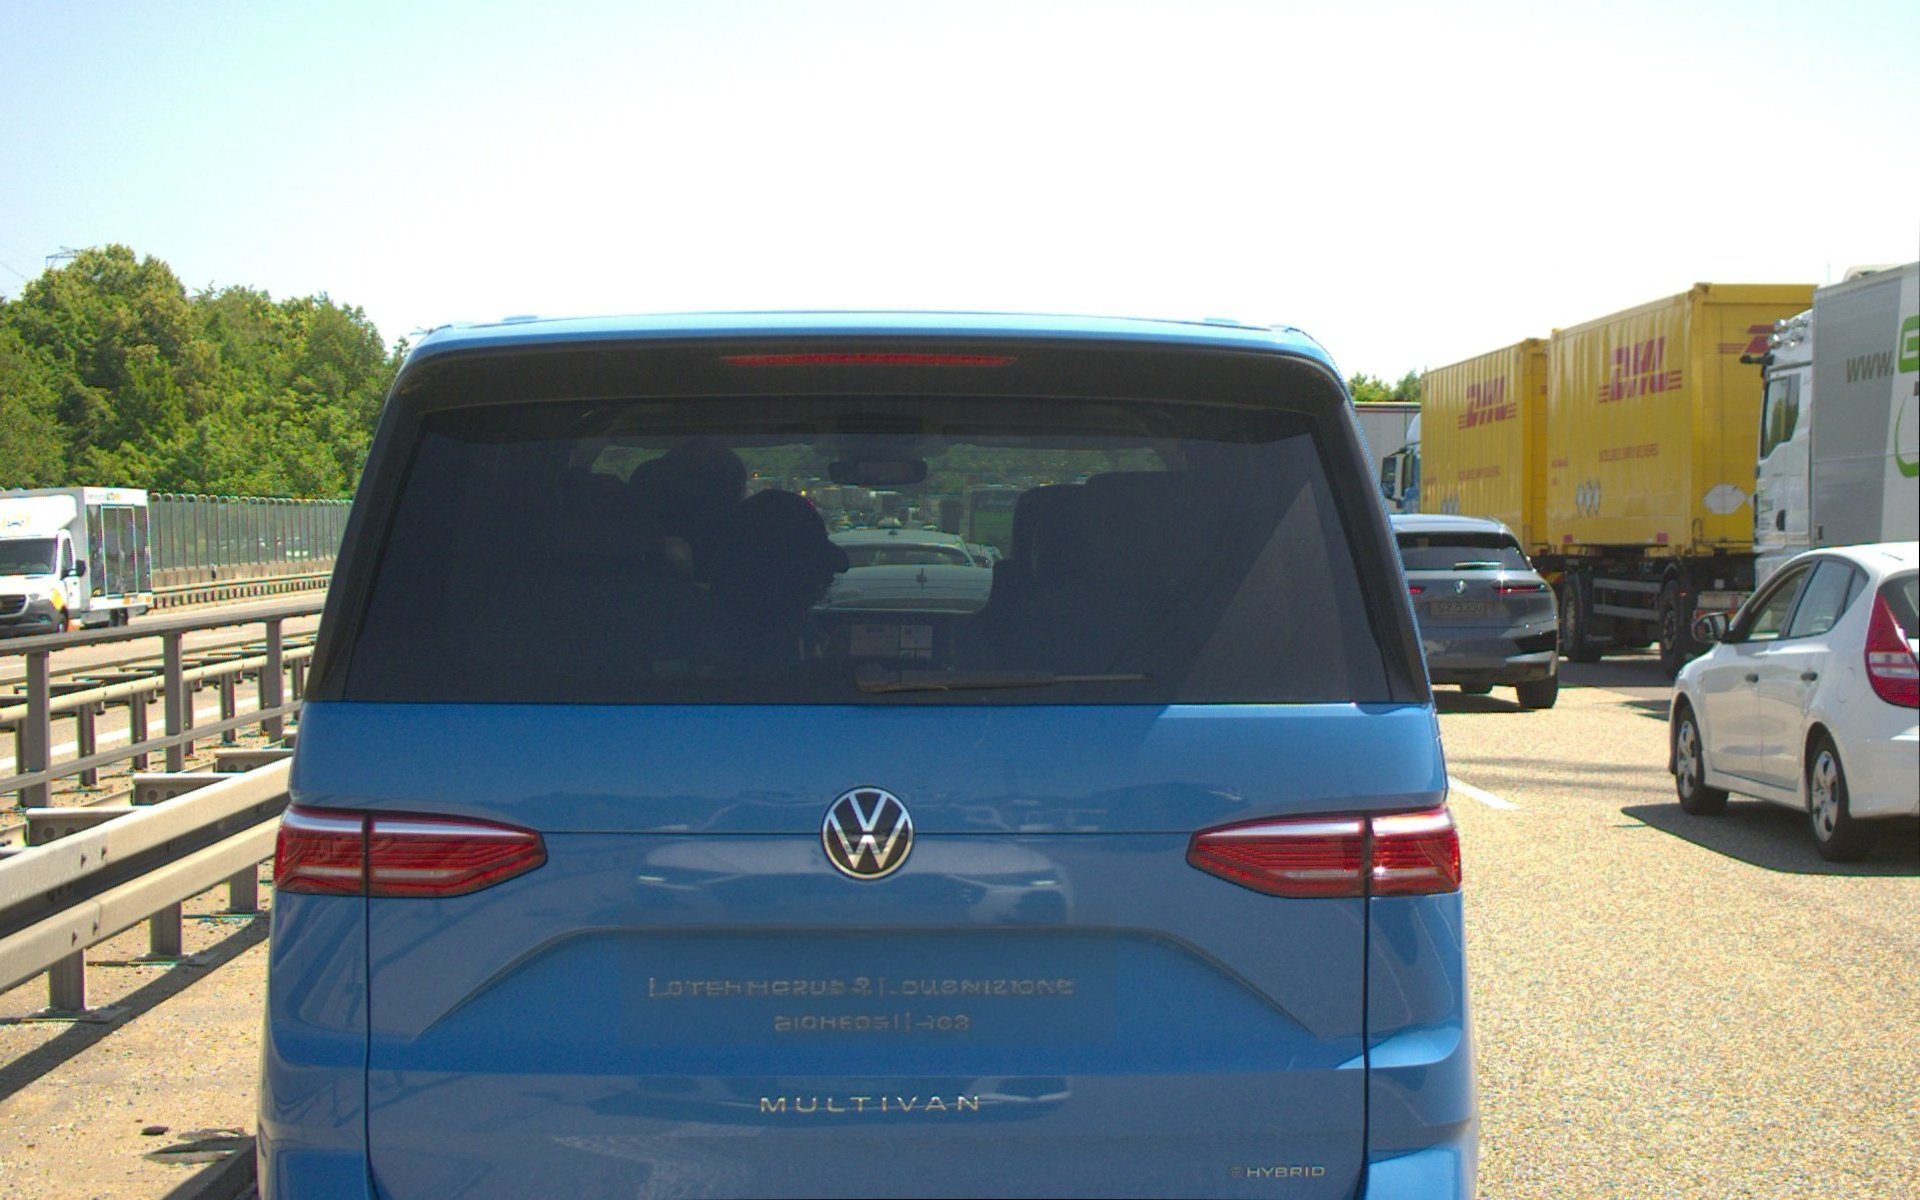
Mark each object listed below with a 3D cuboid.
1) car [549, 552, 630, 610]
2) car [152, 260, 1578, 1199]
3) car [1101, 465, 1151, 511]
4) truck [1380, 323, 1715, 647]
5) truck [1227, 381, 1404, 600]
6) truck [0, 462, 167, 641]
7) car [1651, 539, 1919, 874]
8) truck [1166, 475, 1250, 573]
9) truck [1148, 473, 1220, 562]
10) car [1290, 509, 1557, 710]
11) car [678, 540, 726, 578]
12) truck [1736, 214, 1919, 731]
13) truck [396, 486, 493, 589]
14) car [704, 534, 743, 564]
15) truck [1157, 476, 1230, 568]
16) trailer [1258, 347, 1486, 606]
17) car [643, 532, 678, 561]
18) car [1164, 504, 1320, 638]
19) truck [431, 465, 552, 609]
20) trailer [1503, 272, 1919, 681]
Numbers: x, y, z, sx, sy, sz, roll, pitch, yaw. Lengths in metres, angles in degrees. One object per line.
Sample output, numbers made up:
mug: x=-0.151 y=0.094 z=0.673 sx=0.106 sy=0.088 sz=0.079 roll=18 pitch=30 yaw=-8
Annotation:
car: x=-10.129 y=-0.529 z=94.189 sx=1.797 sy=1.493 sz=3.852 roll=-2 pitch=1 yaw=-1
car: x=-0.156 y=0.463 z=6.699 sx=1.930 sy=1.867 sz=4.000 roll=1 pitch=1 yaw=-1
car: x=6.787 y=-4.567 z=140.789 sx=1.797 sy=1.745 sz=3.943 roll=1 pitch=1 yaw=0
truck: x=8.055 y=-1.506 z=48.511 sx=2.699 sy=4.074 sz=9.941 roll=1 pitch=1 yaw=-2
truck: x=7.797 y=-2.349 z=76.465 sx=3.026 sy=4.595 sz=7.921 roll=1 pitch=1 yaw=0
truck: x=-17.608 y=-0.872 z=66.314 sx=2.563 sy=3.177 sz=8.294 roll=-3 pitch=1 yaw=0
car: x=4.791 y=0.456 z=17.057 sx=1.815 sy=1.465 sz=3.932 roll=1 pitch=1 yaw=-2
truck: x=6.411 y=-1.943 z=89.304 sx=1.798 sy=2.441 sz=4.504 roll=1 pitch=1 yaw=0
truck: x=6.704 y=-2.449 z=103.227 sx=1.797 sy=2.587 sz=4.306 roll=1 pitch=1 yaw=0
car: x=4.095 y=0.060 z=30.943 sx=1.815 sy=1.673 sz=3.932 roll=1 pitch=1 yaw=-1
car: x=-10.998 y=-1.751 z=146.654 sx=1.881 sy=1.547 sz=4.190 roll=1 pitch=1 yaw=-2
truck: x=8.690 y=-0.959 z=26.363 sx=2.851 sy=3.921 sz=10.610 roll=1 pitch=1 yaw=-1
truck: x=-18.353 y=-2.204 z=122.646 sx=2.520 sy=3.523 sz=5.330 roll=-2 pitch=1 yaw=0
car: x=-12.501 y=-2.689 z=181.959 sx=1.881 sy=1.547 sz=4.190 roll=1 pitch=1 yaw=-2
truck: x=6.627 y=-2.184 z=97.953 sx=1.742 sy=2.540 sz=4.210 roll=1 pitch=1 yaw=0
trailer: x=7.844 y=-2.270 z=67.045 sx=3.026 sy=4.595 sz=10.925 roll=1 pitch=1 yaw=0
car: x=-18.045 y=-3.225 z=207.377 sx=1.806 sy=1.634 sz=4.000 roll=-2 pitch=1 yaw=-2
car: x=4.234 y=-0.443 z=52.153 sx=1.962 sy=1.929 sz=3.932 roll=1 pitch=1 yaw=-1
truck: x=-13.937 y=-1.850 z=102.610 sx=2.753 sy=4.102 sz=6.266 roll=-1 pitch=1 yaw=-1
trailer: x=8.391 y=-1.288 z=39.054 sx=2.682 sy=4.074 sz=8.981 roll=1 pitch=1 yaw=-2
